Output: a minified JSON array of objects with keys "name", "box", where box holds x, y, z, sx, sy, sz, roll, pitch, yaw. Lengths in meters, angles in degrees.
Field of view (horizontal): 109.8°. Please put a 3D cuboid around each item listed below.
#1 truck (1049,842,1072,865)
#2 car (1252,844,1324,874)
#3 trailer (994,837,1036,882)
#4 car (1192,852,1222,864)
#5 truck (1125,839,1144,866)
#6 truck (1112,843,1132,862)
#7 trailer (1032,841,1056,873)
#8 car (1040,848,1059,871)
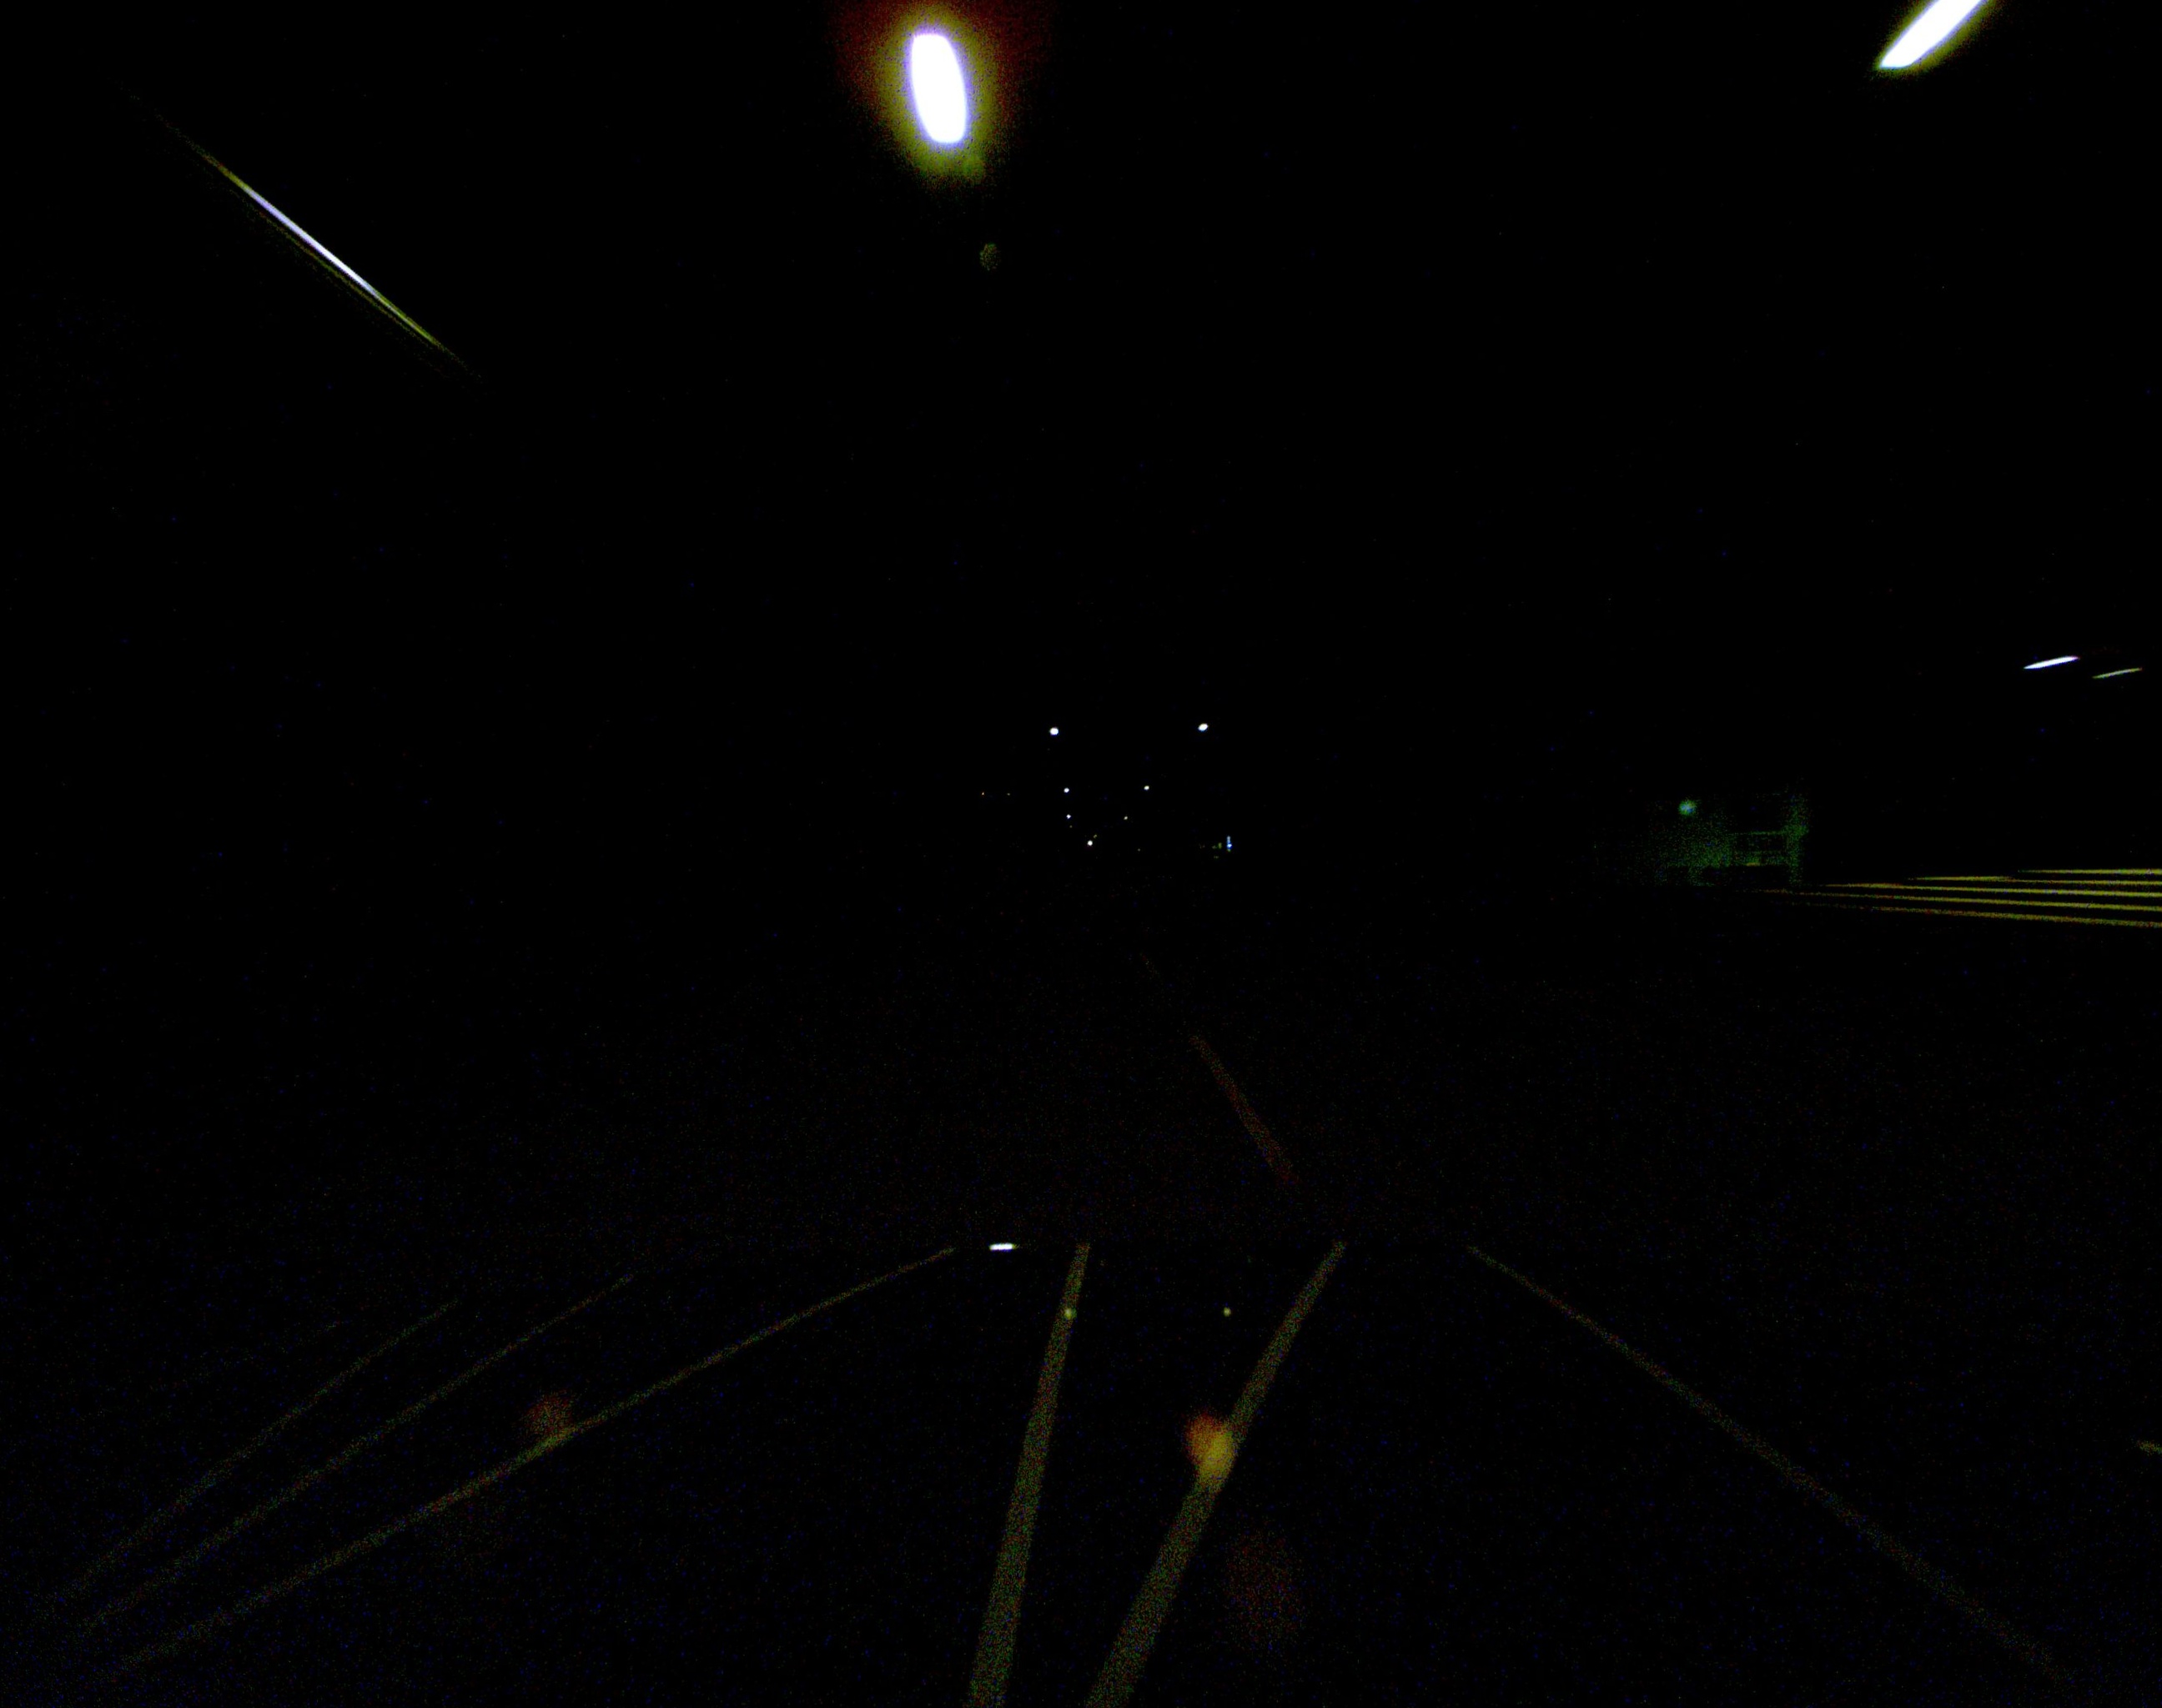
[{"name":"truck","box":[-3.533,0.007,134.450,2.515,3.814,12.662,-2,0,5]},{"name":"car","box":[14.480,0.343,53.316,4.443,1.960,2.000,-2,0,-1]},{"name":"trailer","box":[-4.098,0.356,47.681,1.998,2.635,4.001,-2,0,3]},{"name":"car","box":[18.801,0.543,113.405,3.998,1.455,1.806,-4,0,-3]},{"name":"truck","box":[8.867,-0.325,126.795,2.644,4.290,12.824,1,1,2]},{"name":"truck","box":[8.207,-0.197,154.524,2.829,3.610,10.398,-2,0,-4]},{"name":"trailer","box":[-4.037,0.335,82.751,2.405,3.306,4.361,-2,0,-3]},{"name":"car","box":[-3.649,0.645,89.141,1.945,2.533,6.646,-2,0,0]}]
